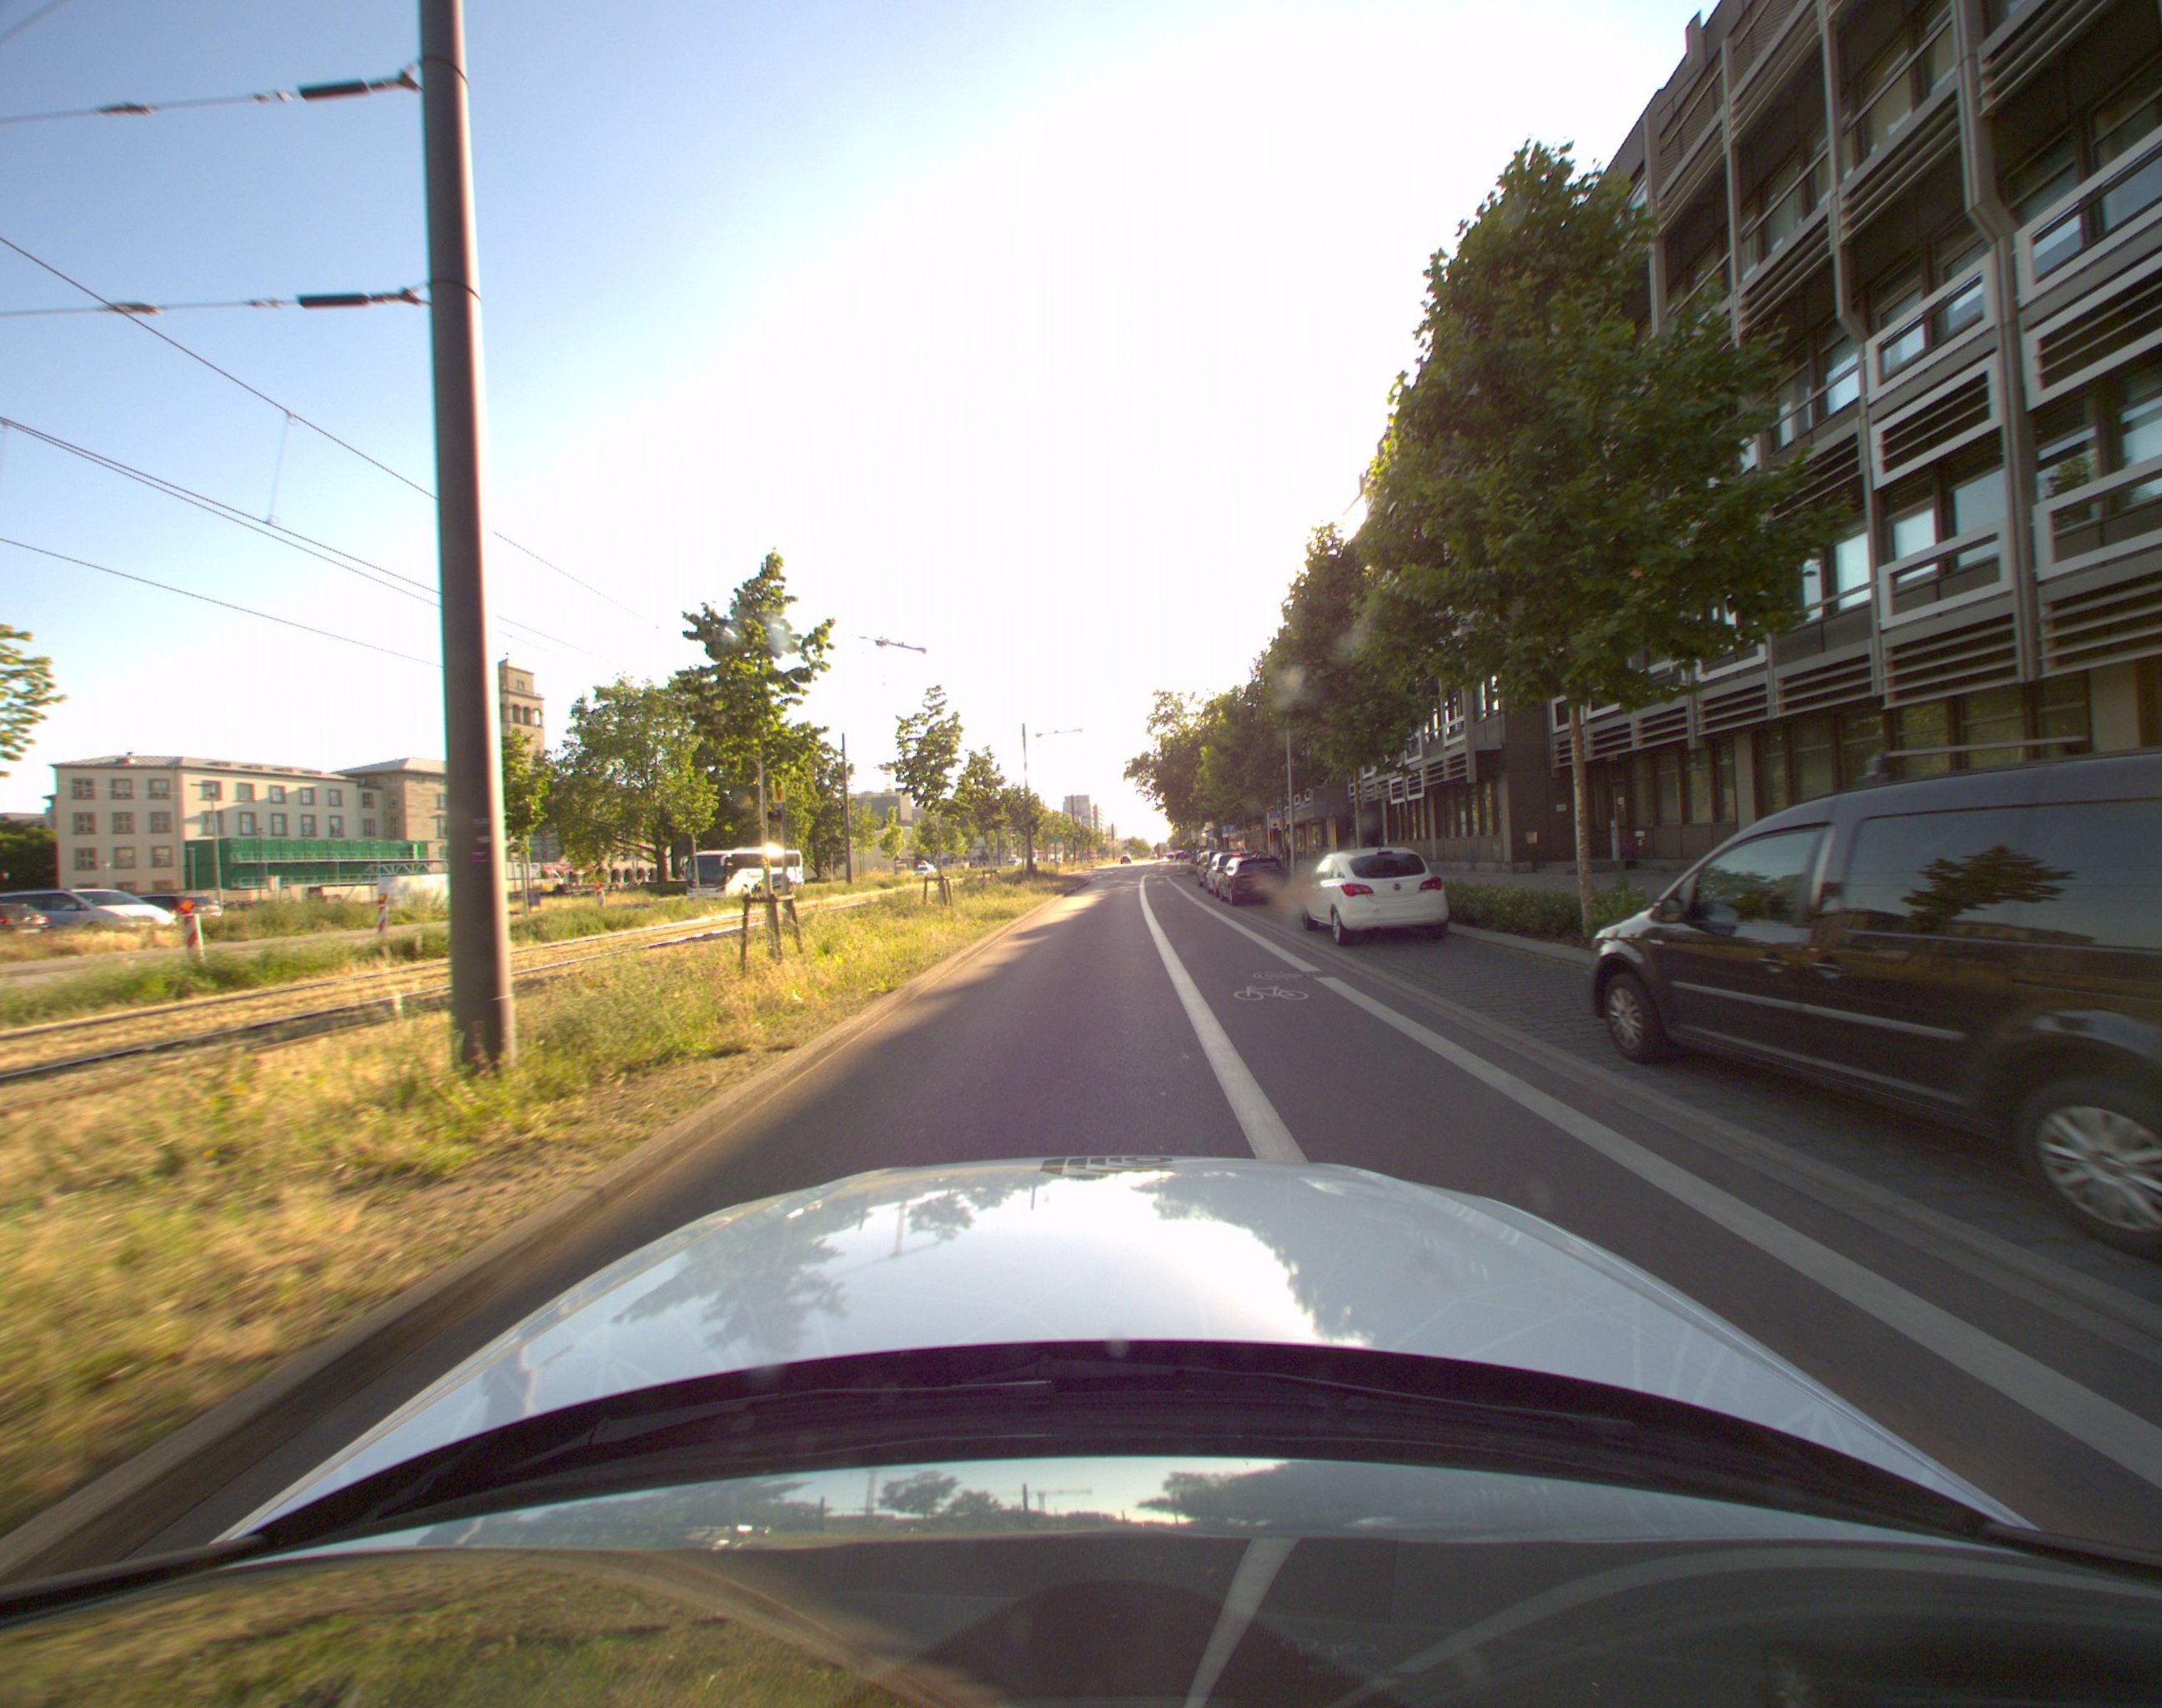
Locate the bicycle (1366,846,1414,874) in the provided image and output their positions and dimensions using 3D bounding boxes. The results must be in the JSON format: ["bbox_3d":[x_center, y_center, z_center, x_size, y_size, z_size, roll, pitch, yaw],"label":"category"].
[{"bbox_3d":[13.400,0.256,35.335,1.894,1.093,0.392,-4,-1,-2],"label":"bicycle"}]

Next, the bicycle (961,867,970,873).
[{"bbox_3d":[-15.932,2.159,112.483,0.684,0.804,2.147,-3,0,4],"label":"bicycle"}]

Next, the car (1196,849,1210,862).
[{"bbox_3d":[16.400,0.230,109.355,1.671,1.514,5.074,-5,0,10],"label":"car"}]

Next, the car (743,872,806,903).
[{"bbox_3d":[-18.641,2.011,49.700,1.985,1.651,4.274,-3,0,3],"label":"car"}]

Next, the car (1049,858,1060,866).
[{"bbox_3d":[-6.672,2.028,204.334,1.983,1.776,4.007,-3,0,6],"label":"car"}]

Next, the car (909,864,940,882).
[{"bbox_3d":[-15.993,1.897,83.384,1.985,1.643,4.171,-3,0,4],"label":"car"}]

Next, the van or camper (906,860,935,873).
[{"bbox_3d":[-34.416,2.609,174.540,5.629,2.414,2.159,-3,0,7],"label":"van or camper"}]

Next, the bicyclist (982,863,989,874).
[{"bbox_3d":[-14.642,2.229,124.979,0.684,1.708,0.955,-3,0,6],"label":"bicyclist"}]

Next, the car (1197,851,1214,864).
[{"bbox_3d":[14.932,0.389,97.666,1.697,1.418,4.284,-5,0,7],"label":"car"}]

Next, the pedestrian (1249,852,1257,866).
[{"bbox_3d":[22.536,0.619,106.822,0.827,1.856,0.848,-3,0,5],"label":"pedestrian"}]

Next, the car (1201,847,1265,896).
[{"bbox_3d":[5.698,0.618,30.936,1.721,1.621,4.219,-5,0,3],"label":"car"}]

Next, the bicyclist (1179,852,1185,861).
[{"bbox_3d":[17.922,0.478,144.668,0.797,1.602,0.785,-2,0,2],"label":"bicyclist"}]

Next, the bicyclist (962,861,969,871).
[{"bbox_3d":[-15.942,1.696,112.437,0.684,1.346,0.872,-3,0,4],"label":"bicyclist"}]

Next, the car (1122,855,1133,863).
[{"bbox_3d":[7.908,0.839,138.977,1.768,1.428,4.005,-2,0,4],"label":"car"}]

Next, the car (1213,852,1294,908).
[{"bbox_3d":[5.245,0.738,25.289,1.787,1.449,4.381,-5,0,4],"label":"car"}]

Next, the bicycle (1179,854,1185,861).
[{"bbox_3d":[18.011,0.658,144.962,0.794,1.204,2.270,-3,0,10],"label":"bicycle"}]

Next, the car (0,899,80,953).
[{"bbox_3d":[-33.580,2.236,24.706,3.971,1.485,2.001,-3,0,2],"label":"car"}]

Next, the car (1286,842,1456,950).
[{"bbox_3d":[4.873,0.625,14.313,1.656,1.490,4.209,-5,0,4],"label":"car"}]

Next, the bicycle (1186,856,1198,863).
[{"bbox_3d":[16.845,0.846,124.001,1.680,0.867,0.575,-4,-1,14],"label":"bicycle"}]

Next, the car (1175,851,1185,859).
[{"bbox_3d":[20.802,0.177,171.317,1.931,1.428,3.930,-3,0,4],"label":"car"}]

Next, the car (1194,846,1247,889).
[{"bbox_3d":[6.235,0.553,36.862,1.721,1.688,4.518,-5,0,3],"label":"car"}]

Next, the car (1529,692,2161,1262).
[{"bbox_3d":[4.496,0.357,4.368,1.728,1.919,4.394,-5,0,1],"label":"car"}]

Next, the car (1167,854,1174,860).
[{"bbox_3d":[24.047,0.707,218.289,1.751,1.485,3.855,-3,0,4],"label":"car"}]

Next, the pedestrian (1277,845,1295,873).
[{"bbox_3d":[12.544,0.278,49.814,0.785,1.648,1.138,-4,-1,4],"label":"pedestrian"}]

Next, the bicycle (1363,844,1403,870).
[{"bbox_3d":[13.963,0.128,37.652,1.619,1.082,0.393,-4,-1,5],"label":"bicycle"}]

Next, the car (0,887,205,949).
[{"bbox_3d":[-32.945,2.114,27.170,5.206,1.717,2.126,-3,0,2],"label":"car"}]

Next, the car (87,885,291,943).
[{"bbox_3d":[-32.661,2.170,29.940,5.206,1.717,2.126,-3,0,2],"label":"car"}]

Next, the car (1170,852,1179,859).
[{"bbox_3d":[21.768,0.324,189.743,1.931,1.485,3.930,-3,0,4],"label":"car"}]

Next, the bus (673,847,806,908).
[{"bbox_3d":[-22.937,1.413,55.964,2.786,3.595,12.713,-3,0,4],"label":"bus"}]
